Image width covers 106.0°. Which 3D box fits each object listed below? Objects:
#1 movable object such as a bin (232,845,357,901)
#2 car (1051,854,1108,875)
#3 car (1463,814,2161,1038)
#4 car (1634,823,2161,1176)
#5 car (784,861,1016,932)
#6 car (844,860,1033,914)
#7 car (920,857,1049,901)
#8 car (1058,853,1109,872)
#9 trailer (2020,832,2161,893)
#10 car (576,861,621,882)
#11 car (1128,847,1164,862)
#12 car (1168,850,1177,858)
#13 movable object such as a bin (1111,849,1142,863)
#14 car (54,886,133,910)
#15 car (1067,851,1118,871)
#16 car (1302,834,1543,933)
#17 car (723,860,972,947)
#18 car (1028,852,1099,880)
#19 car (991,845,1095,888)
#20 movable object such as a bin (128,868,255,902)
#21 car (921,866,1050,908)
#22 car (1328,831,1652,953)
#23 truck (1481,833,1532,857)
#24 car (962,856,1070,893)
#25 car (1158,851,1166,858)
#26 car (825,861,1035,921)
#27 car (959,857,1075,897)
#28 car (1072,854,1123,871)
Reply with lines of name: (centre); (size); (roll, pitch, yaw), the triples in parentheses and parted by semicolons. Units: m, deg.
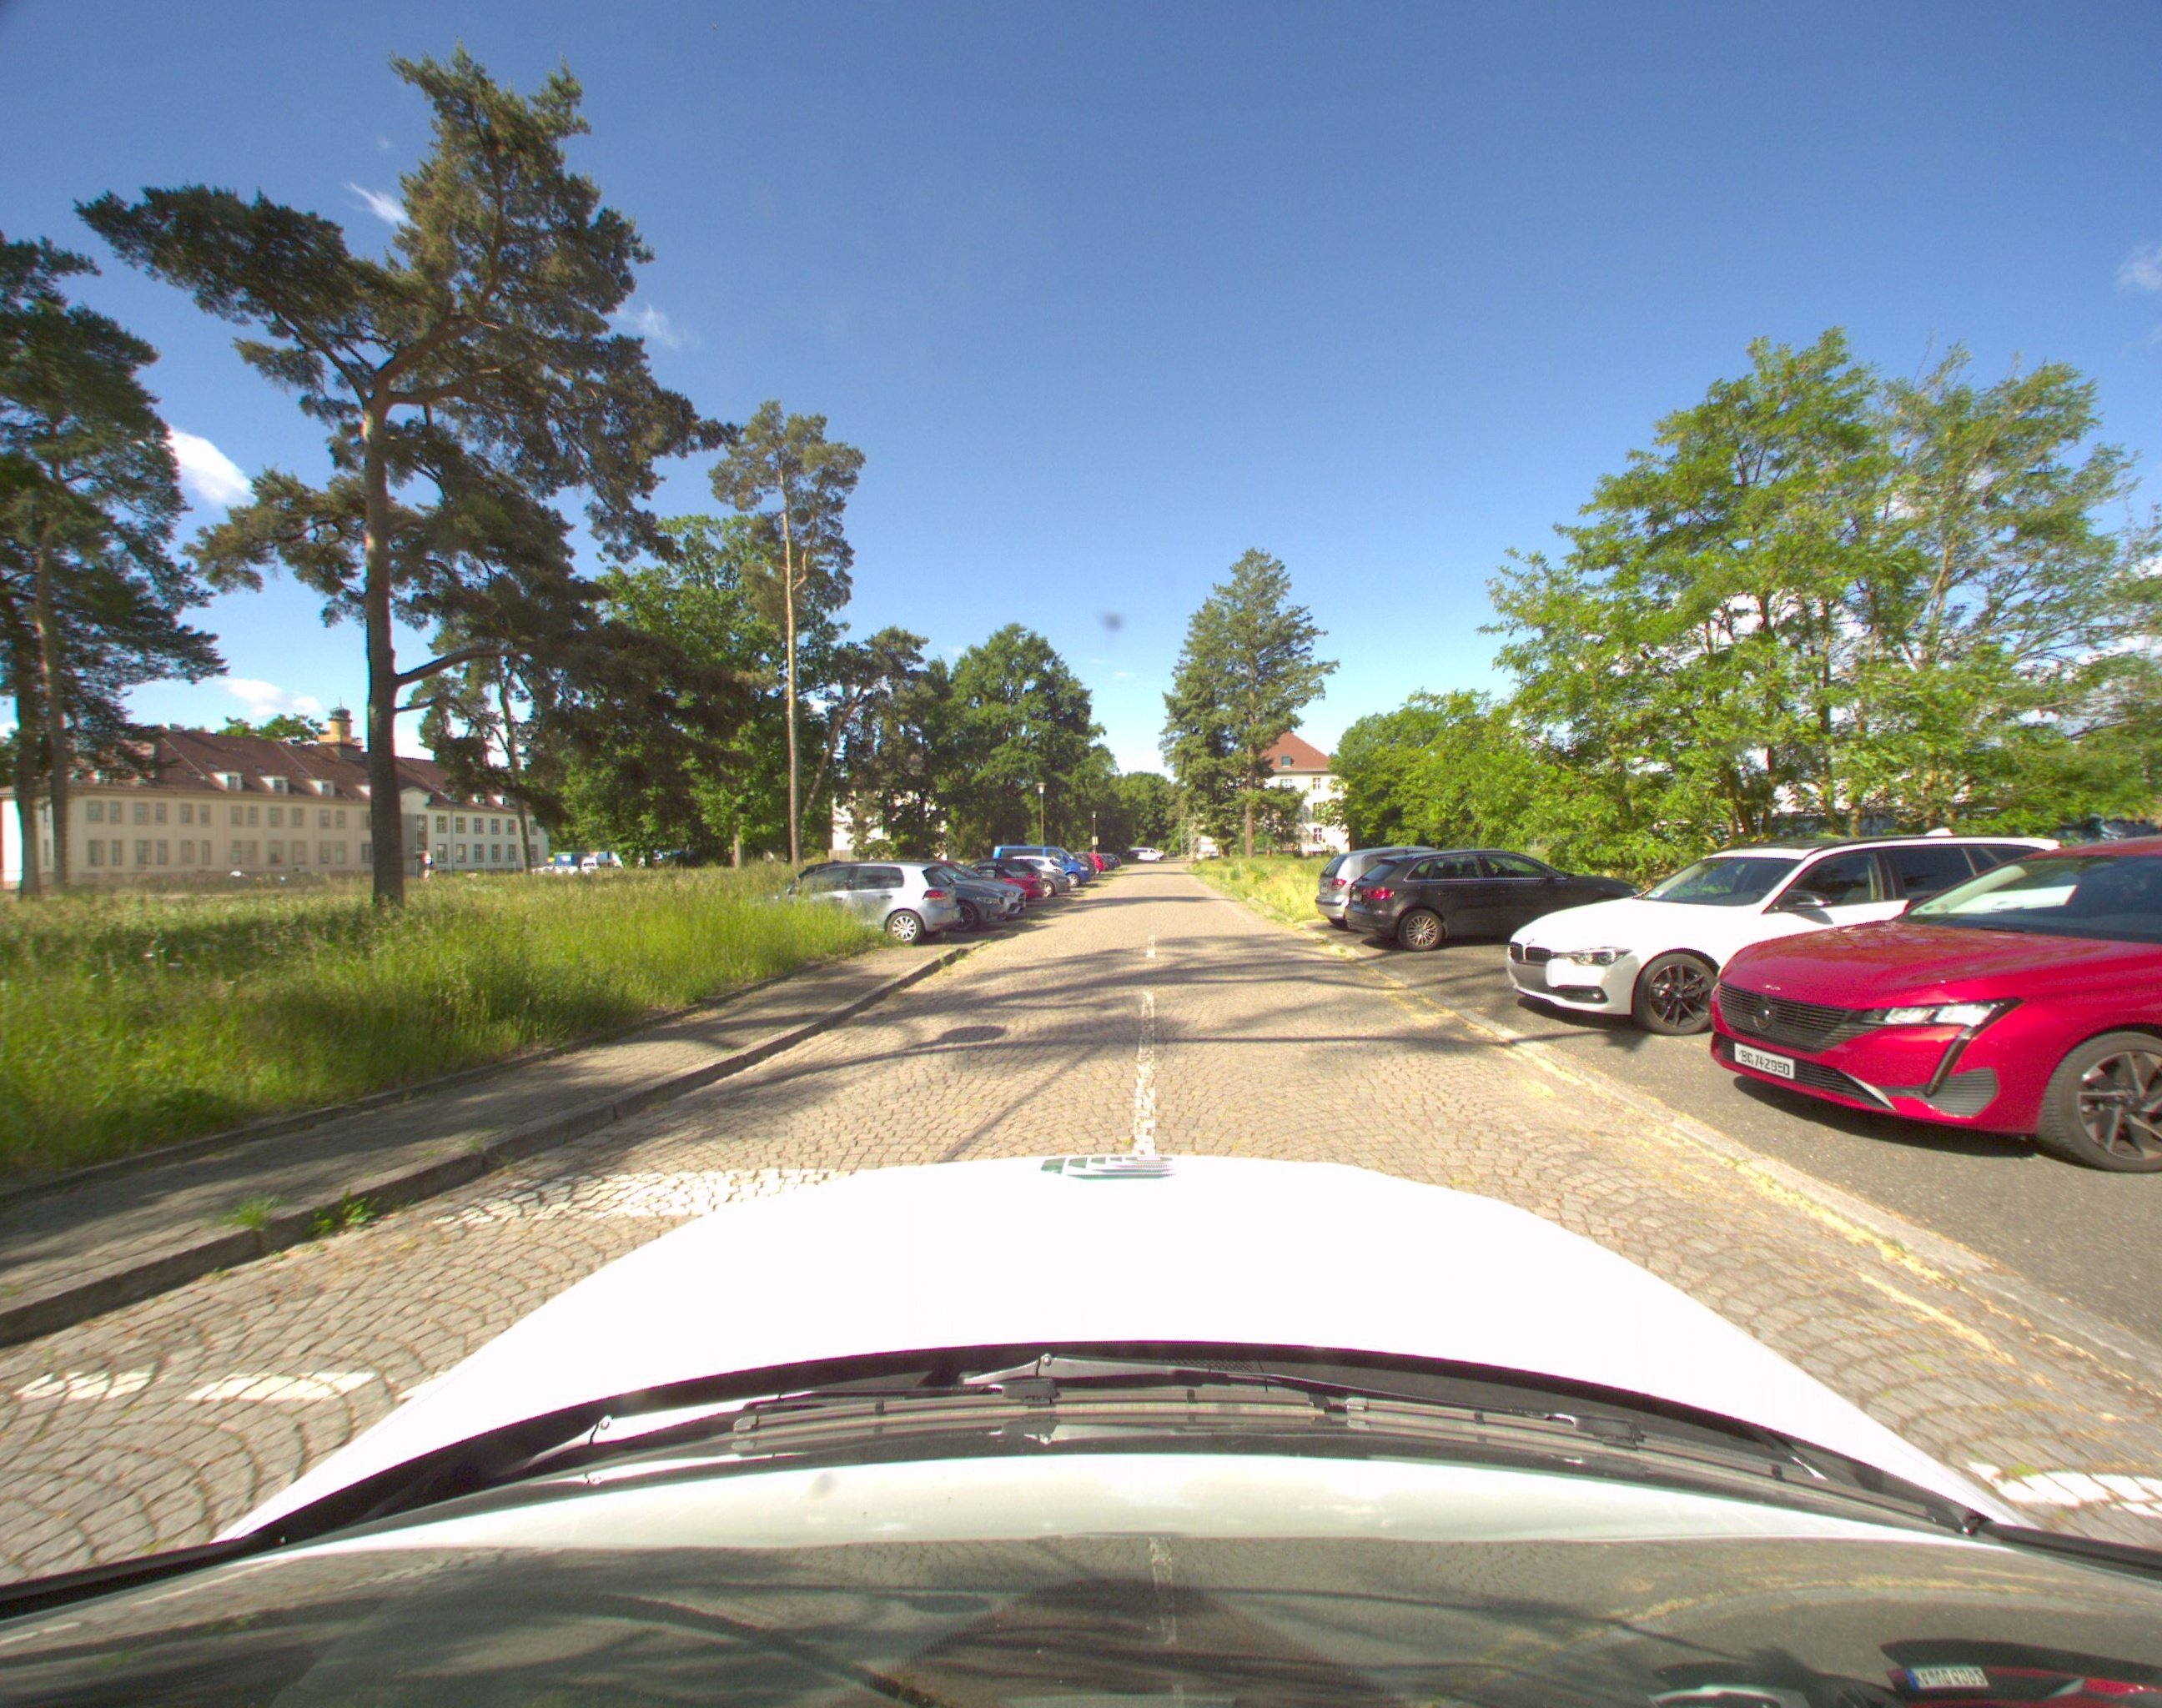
movable object such as a bin: (-57.133, 1.333, 59.465); (3.930, 3.731, 6.748); (-2, 0, -19)
car: (-0.100, 0.727, 58.041); (3.906, 1.461, 1.844); (0, 1, 3)
car: (6.114, 0.572, 7.246); (4.495, 1.464, 1.840); (-4, 0, 2)
car: (5.972, 0.573, 4.431); (4.517, 1.421, 1.896); (-4, 0, 4)
car: (-3.820, 0.884, 17.779); (4.564, 1.452, 1.985); (0, 0, 1)
car: (-3.919, 0.890, 22.874); (4.841, 1.421, 1.941); (0, 0, 5)
car: (-3.252, 0.848, 27.825); (4.056, 1.452, 1.825); (0, -1, 6)
car: (0.199, 0.700, 65.937); (3.903, 1.433, 1.845); (-1, 0, 6)
trailer: (19.519, 0.158, 15.367); (2.390, 1.105, 1.036); (0, 0, 1)
car: (-59.423, 2.096, 100.425); (1.974, 2.436, 5.286); (-2, 0, 6)
car: (9.707, 0.084, 121.389); (5.210, 2.016, 1.952); (-1, 0, 4)
car: (21.057, -0.017, 187.089); (1.962, 1.668, 4.091); (-2, 0, 5)
movable object such as a bin: (6.060, 0.287, 108.527); (3.533, 1.744, 2.036); (-2, 0, 23)
car: (-87.941, 3.932, 72.570); (4.121, 1.854, 1.990); (-2, 0, -8)
car: (0.999, 0.608, 68.280); (4.115, 1.579, 1.887); (-1, 0, 5)
car: (6.250, 0.527, 15.248); (3.724, 1.476, 1.753); (-4, 0, 3)
car: (-4.221, 0.872, 15.178); (4.009, 1.483, 1.951); (0, 1, 3)
car: (-0.986, 0.709, 47.735); (3.936, 1.567, 1.976); (0, 1, 3)
car: (-1.742, 0.564, 38.799); (4.695, 1.968, 2.008); (0, 0, 5)
movable object such as a bin: (-62.503, 2.146, 57.443); (5.708, 2.125, 2.499); (-2, 0, -39)
car: (-2.892, 0.995, 25.112); (3.612, 1.234, 1.763); (0, -1, 6)
car: (6.076, 0.540, 12.504); (3.987, 1.441, 1.846); (-4, 0, 3)
truck: (44.498, -0.903, 85.449); (2.223, 2.423, 6.895); (0, 0, 4)
car: (-2.615, 0.836, 33.568); (4.176, 1.475, 1.826); (0, 0, 5)
car: (18.646, 0.109, 186.984); (1.803, 1.579, 4.140); (-2, 0, 5)
car: (-3.705, 0.890, 20.502); (4.841, 1.421, 1.941); (0, -1, 5)
car: (-2.346, 0.844, 30.650); (4.056, 1.425, 1.926); (0, 0, 6)
car: (1.487, 0.770, 72.946); (4.335, 1.445, 1.925); (-1, 0, 8)
